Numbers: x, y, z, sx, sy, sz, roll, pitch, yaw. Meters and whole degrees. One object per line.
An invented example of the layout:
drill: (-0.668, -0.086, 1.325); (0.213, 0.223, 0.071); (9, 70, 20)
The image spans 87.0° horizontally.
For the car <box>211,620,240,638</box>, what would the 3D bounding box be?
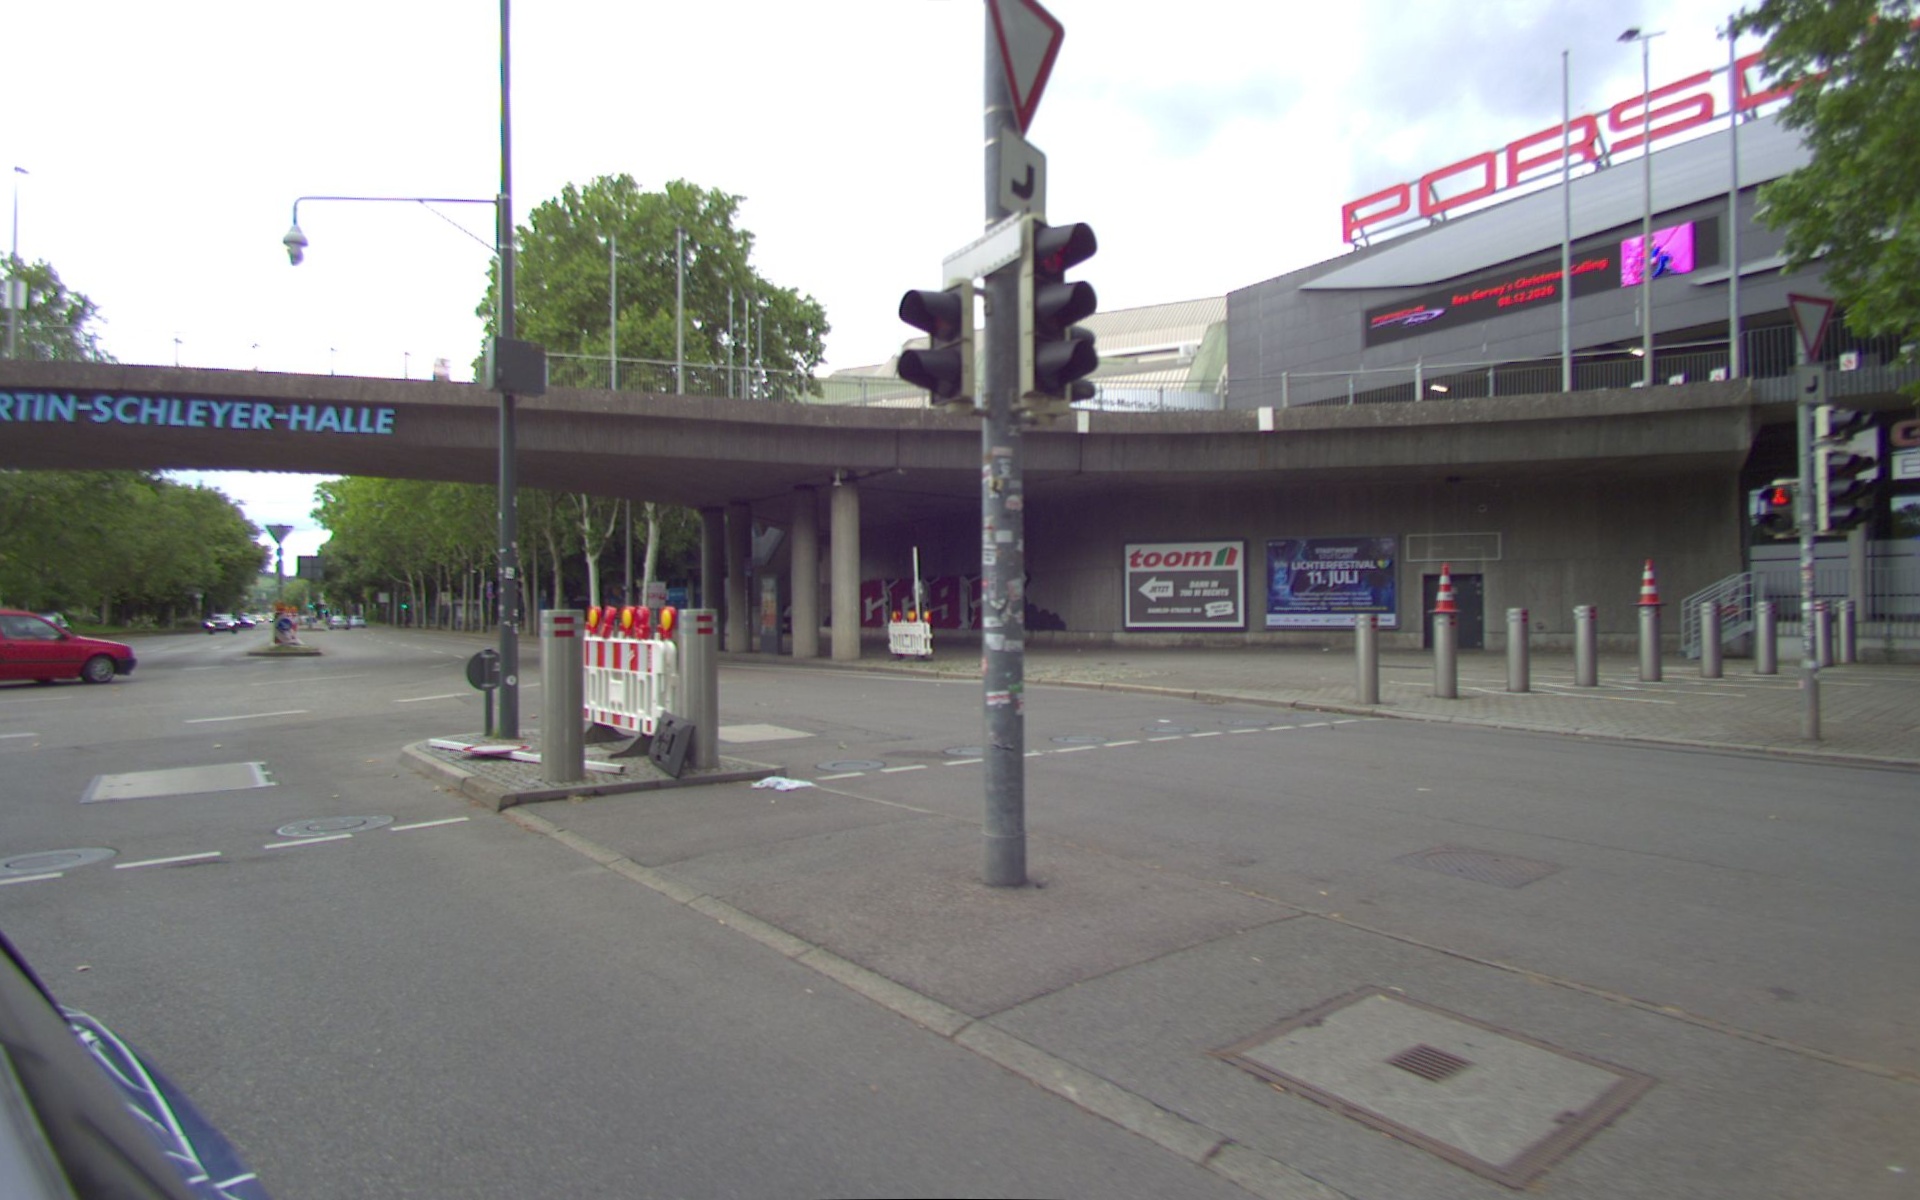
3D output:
car: (-59.857, 2.369, 82.493); (1.734, 1.374, 3.727); (1, 0, -33)

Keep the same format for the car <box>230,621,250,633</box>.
car: (-89.613, 3.398, 126.045); (1.733, 1.374, 3.728); (1, 0, -31)

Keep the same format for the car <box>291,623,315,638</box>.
car: (-65.456, 3.036, 100.866); (1.966, 1.429, 4.011); (1, -1, -33)

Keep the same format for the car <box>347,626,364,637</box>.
car: (-75.534, 3.875, 126.465); (1.589, 1.323, 3.404); (1, -1, -33)

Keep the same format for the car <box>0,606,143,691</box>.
car: (-17.241, 0.835, 17.859); (1.820, 1.463, 4.050); (0, -1, 19)

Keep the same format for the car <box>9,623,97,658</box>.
car: (-38.506, 1.691, 43.058); (1.733, 1.331, 3.729); (1, 0, -24)

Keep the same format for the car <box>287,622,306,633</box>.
car: (-102.258, 4.208, 156.068); (1.968, 1.672, 4.006); (1, -1, -40)
